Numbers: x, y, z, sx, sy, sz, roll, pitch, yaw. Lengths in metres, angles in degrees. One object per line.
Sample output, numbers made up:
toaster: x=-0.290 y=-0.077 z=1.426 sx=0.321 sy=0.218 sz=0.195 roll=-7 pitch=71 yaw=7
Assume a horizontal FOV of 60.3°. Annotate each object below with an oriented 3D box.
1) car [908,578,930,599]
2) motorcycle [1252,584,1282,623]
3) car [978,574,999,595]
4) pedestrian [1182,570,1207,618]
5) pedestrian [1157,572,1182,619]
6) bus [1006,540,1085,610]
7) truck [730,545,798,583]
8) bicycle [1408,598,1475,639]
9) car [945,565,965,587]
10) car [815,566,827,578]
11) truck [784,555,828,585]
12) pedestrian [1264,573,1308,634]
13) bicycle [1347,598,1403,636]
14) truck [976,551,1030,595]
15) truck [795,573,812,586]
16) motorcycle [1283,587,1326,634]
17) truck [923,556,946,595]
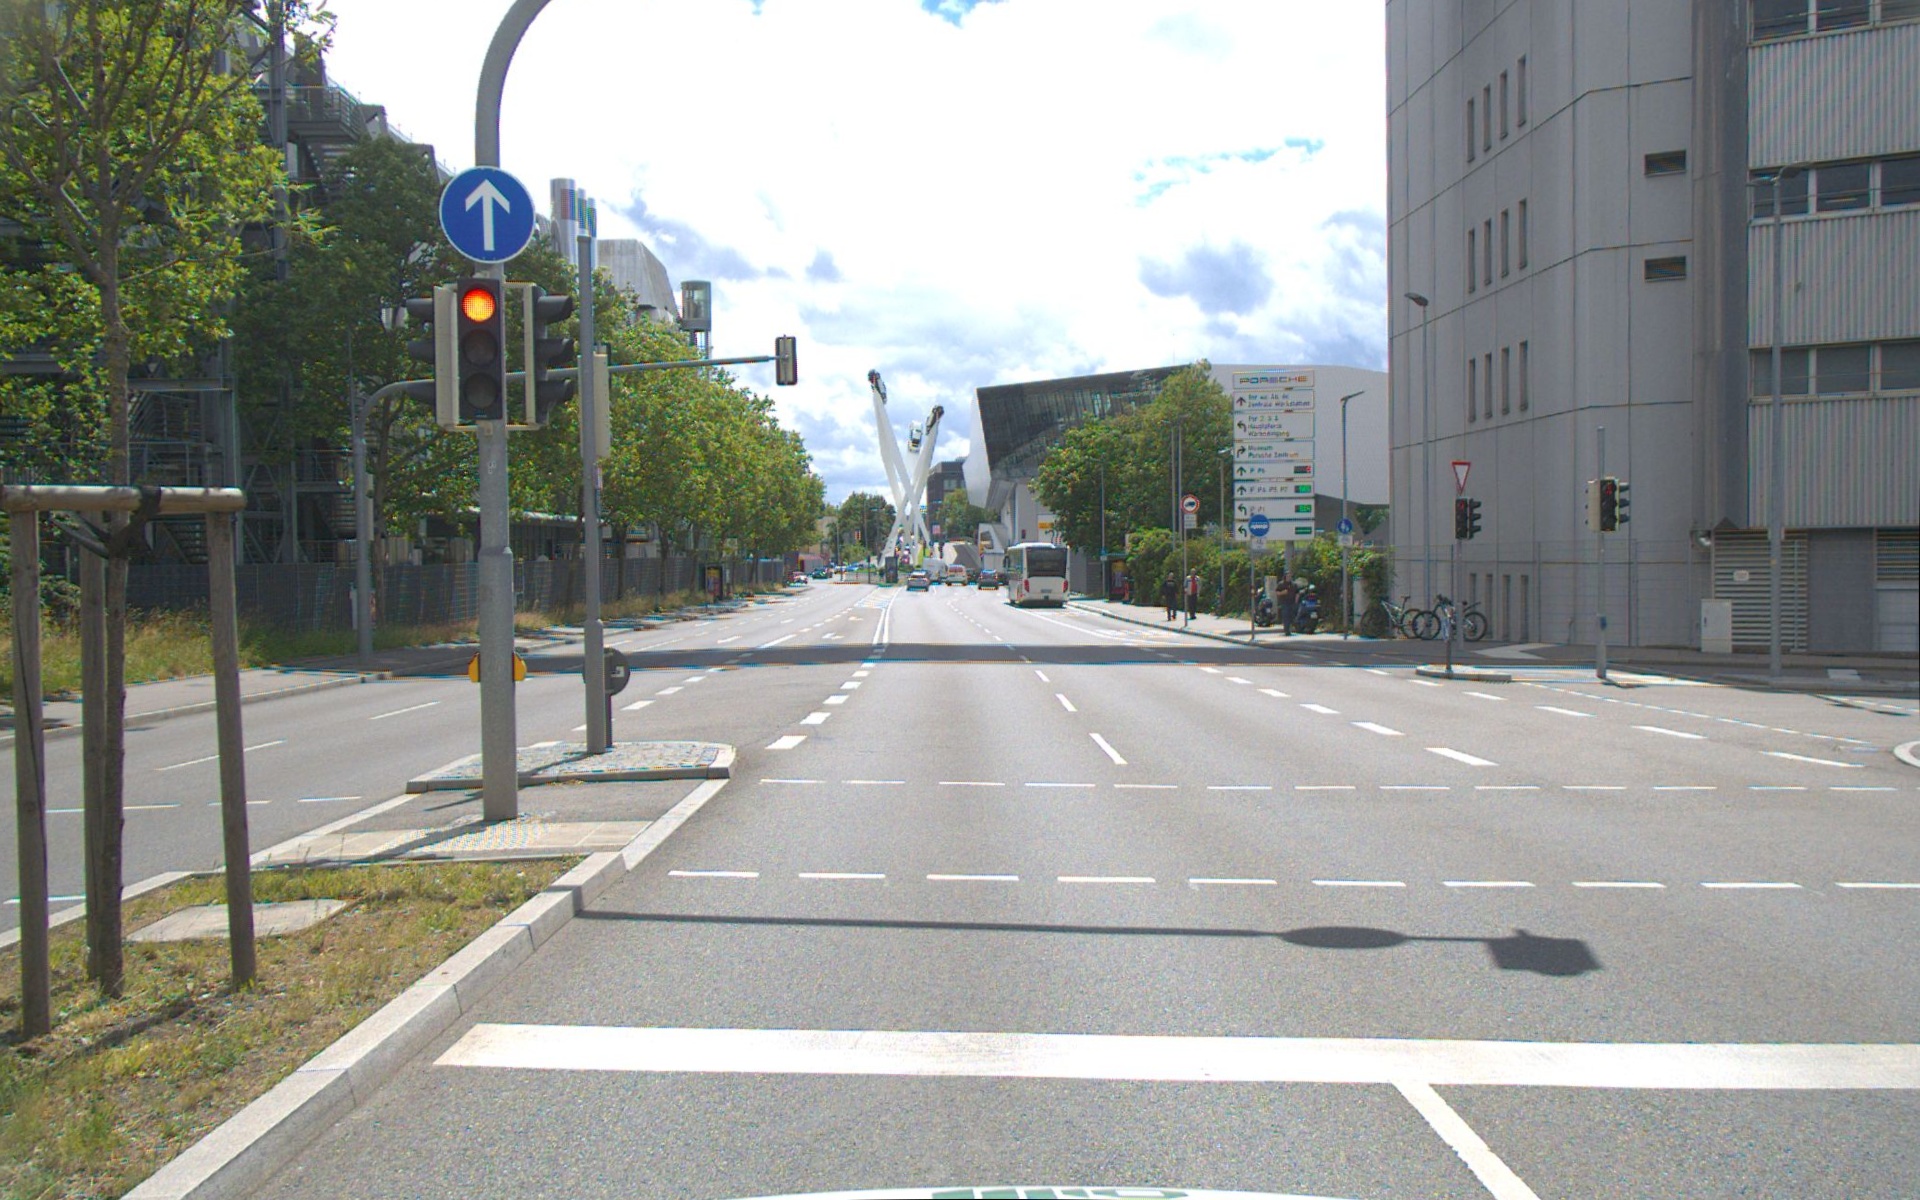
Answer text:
car: x=-3.367 y=-0.950 z=136.011 sx=1.703 sy=1.772 sz=3.691 roll=0 pitch=0 yaw=-1
motorcycle: x=10.009 y=0.107 z=53.954 sx=0.562 sy=1.224 sz=2.024 roll=-2 pitch=1 yaw=-1
car: x=2.491 y=-1.375 z=146.461 sx=1.703 sy=1.772 sz=3.691 roll=0 pitch=0 yaw=-1
pedestrian: x=8.637 y=-0.224 z=60.950 sx=0.803 sy=1.772 sz=0.637 roll=0 pitch=0 yaw=-1
pedestrian: x=7.698 y=-0.170 z=60.785 sx=0.803 sy=1.737 sz=0.881 roll=0 pitch=0 yaw=-1
bus: x=4.553 y=-1.319 z=90.697 sx=3.383 sy=3.605 sz=10.602 roll=0 pitch=0 yaw=-2
truck: x=-25.423 y=-4.629 z=215.416 sx=3.490 sy=4.400 sz=12.166 roll=1 pitch=-1 yaw=21
bicycle: x=11.601 y=0.438 z=39.910 sx=0.392 sy=0.953 sz=1.912 roll=0 pitch=0 yaw=-26
car: x=-0.536 y=-2.363 z=165.157 sx=1.953 sy=2.049 sz=3.999 roll=1 pitch=-1 yaw=-1
car: x=-18.855 y=-3.769 z=223.801 sx=1.552 sy=1.564 sz=3.674 roll=0 pitch=0 yaw=-5
truck: x=-21.952 y=-4.238 z=236.315 sx=2.433 sy=3.962 sz=7.061 roll=0 pitch=-1 yaw=32
pedestrian: x=8.936 y=0.093 z=45.287 sx=0.834 sy=1.653 sz=0.951 roll=0 pitch=0 yaw=40
bicycle: x=10.566 y=0.422 z=42.181 sx=0.391 sy=0.953 sz=1.917 roll=0 pitch=0 yaw=-19
truck: x=4.563 y=-2.778 z=172.599 sx=3.379 sy=4.468 sz=9.426 roll=0 pitch=0 yaw=17
truck: x=-18.843 y=-2.478 z=199.334 sx=1.556 sy=1.564 sz=3.666 roll=0 pitch=0 yaw=-13
motorcycle: x=9.575 y=0.271 z=46.030 sx=0.692 sy=1.224 sz=2.024 roll=-2 pitch=1 yaw=-1
truck: x=-2.662 y=-2.532 z=173.139 sx=2.343 sy=3.965 sz=6.176 roll=0 pitch=0 yaw=-1
